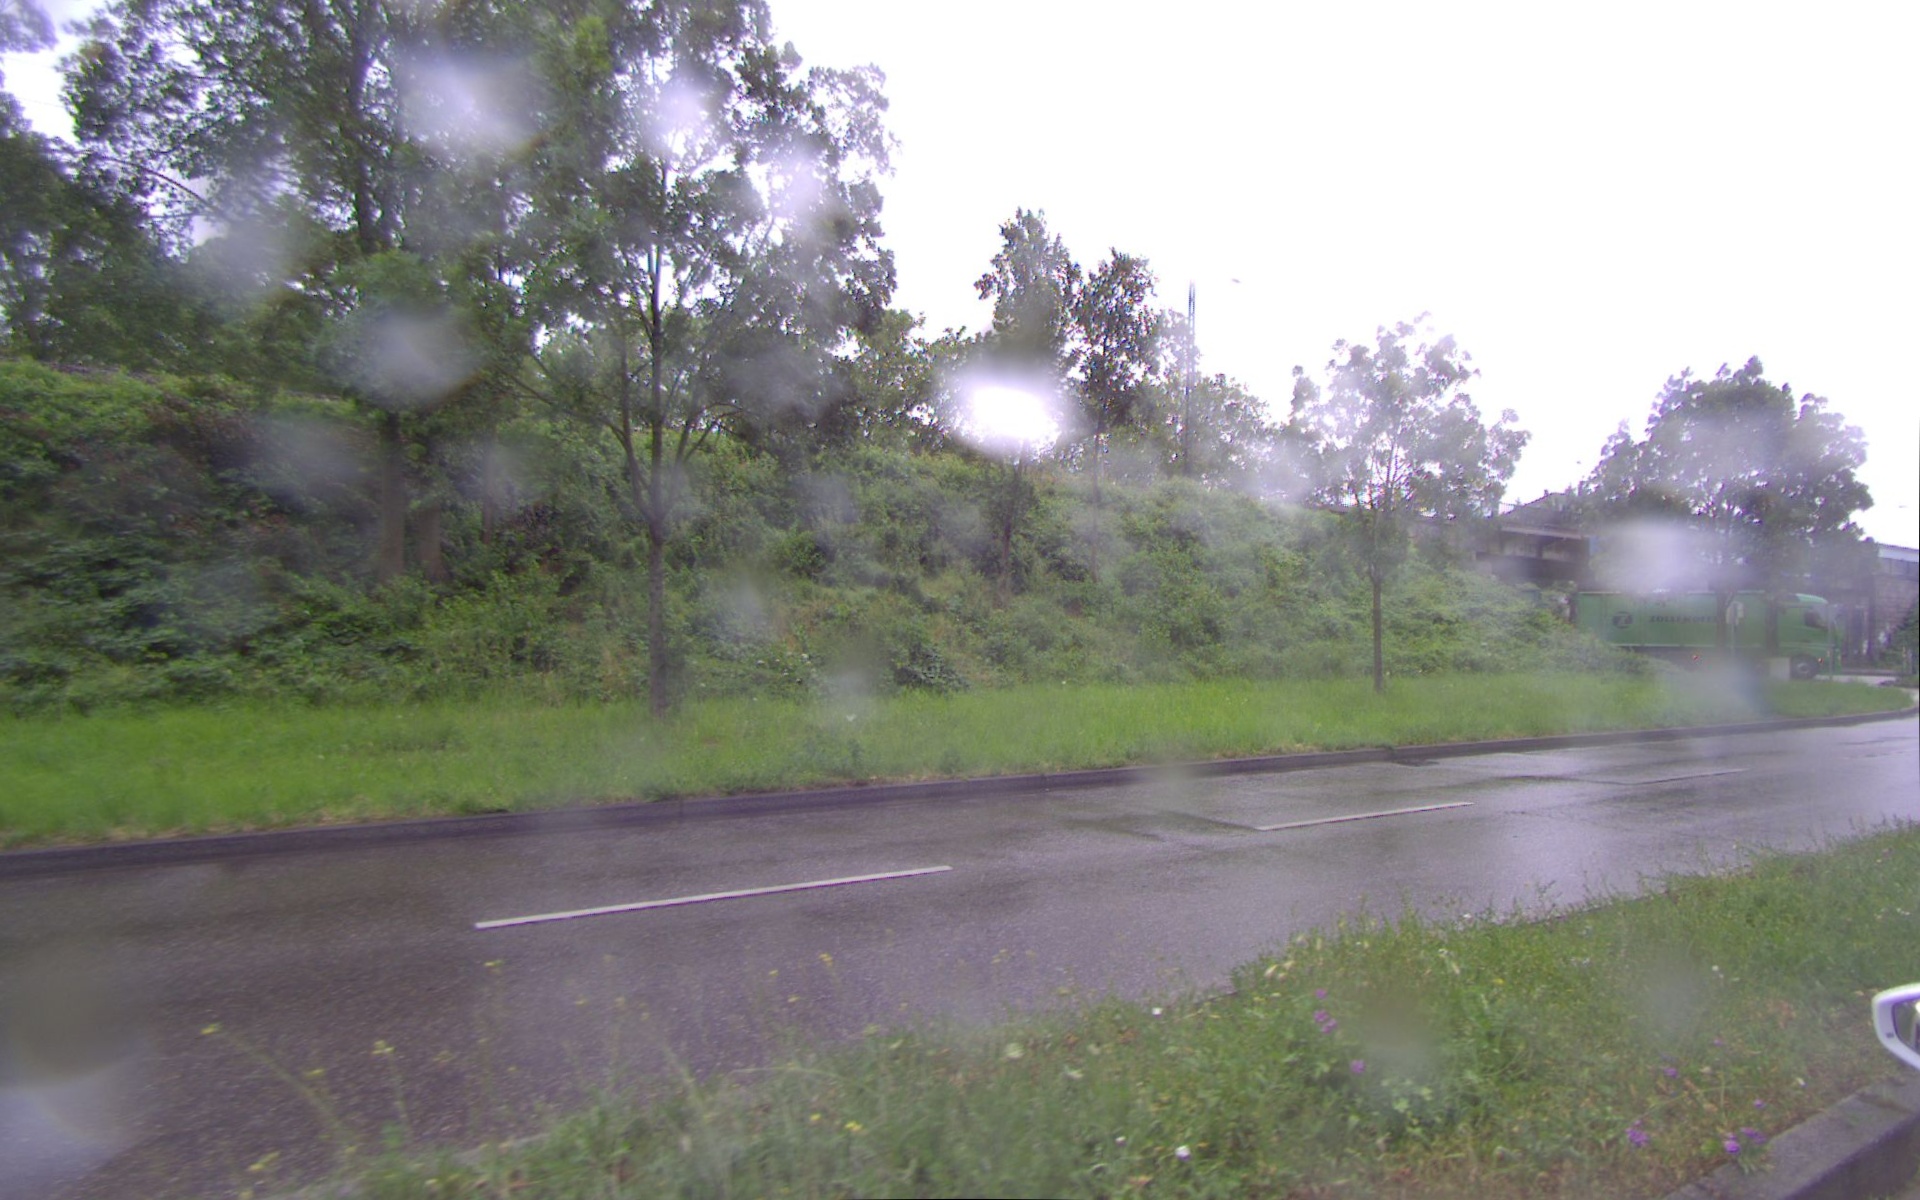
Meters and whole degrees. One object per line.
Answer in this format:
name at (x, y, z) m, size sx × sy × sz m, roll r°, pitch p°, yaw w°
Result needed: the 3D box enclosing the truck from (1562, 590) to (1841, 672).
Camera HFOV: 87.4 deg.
truck at (33.210, 1.314, 45.558) m, size 9.872 × 3.416 × 2.346 m, roll 1°, pitch -1°, yaw 25°
